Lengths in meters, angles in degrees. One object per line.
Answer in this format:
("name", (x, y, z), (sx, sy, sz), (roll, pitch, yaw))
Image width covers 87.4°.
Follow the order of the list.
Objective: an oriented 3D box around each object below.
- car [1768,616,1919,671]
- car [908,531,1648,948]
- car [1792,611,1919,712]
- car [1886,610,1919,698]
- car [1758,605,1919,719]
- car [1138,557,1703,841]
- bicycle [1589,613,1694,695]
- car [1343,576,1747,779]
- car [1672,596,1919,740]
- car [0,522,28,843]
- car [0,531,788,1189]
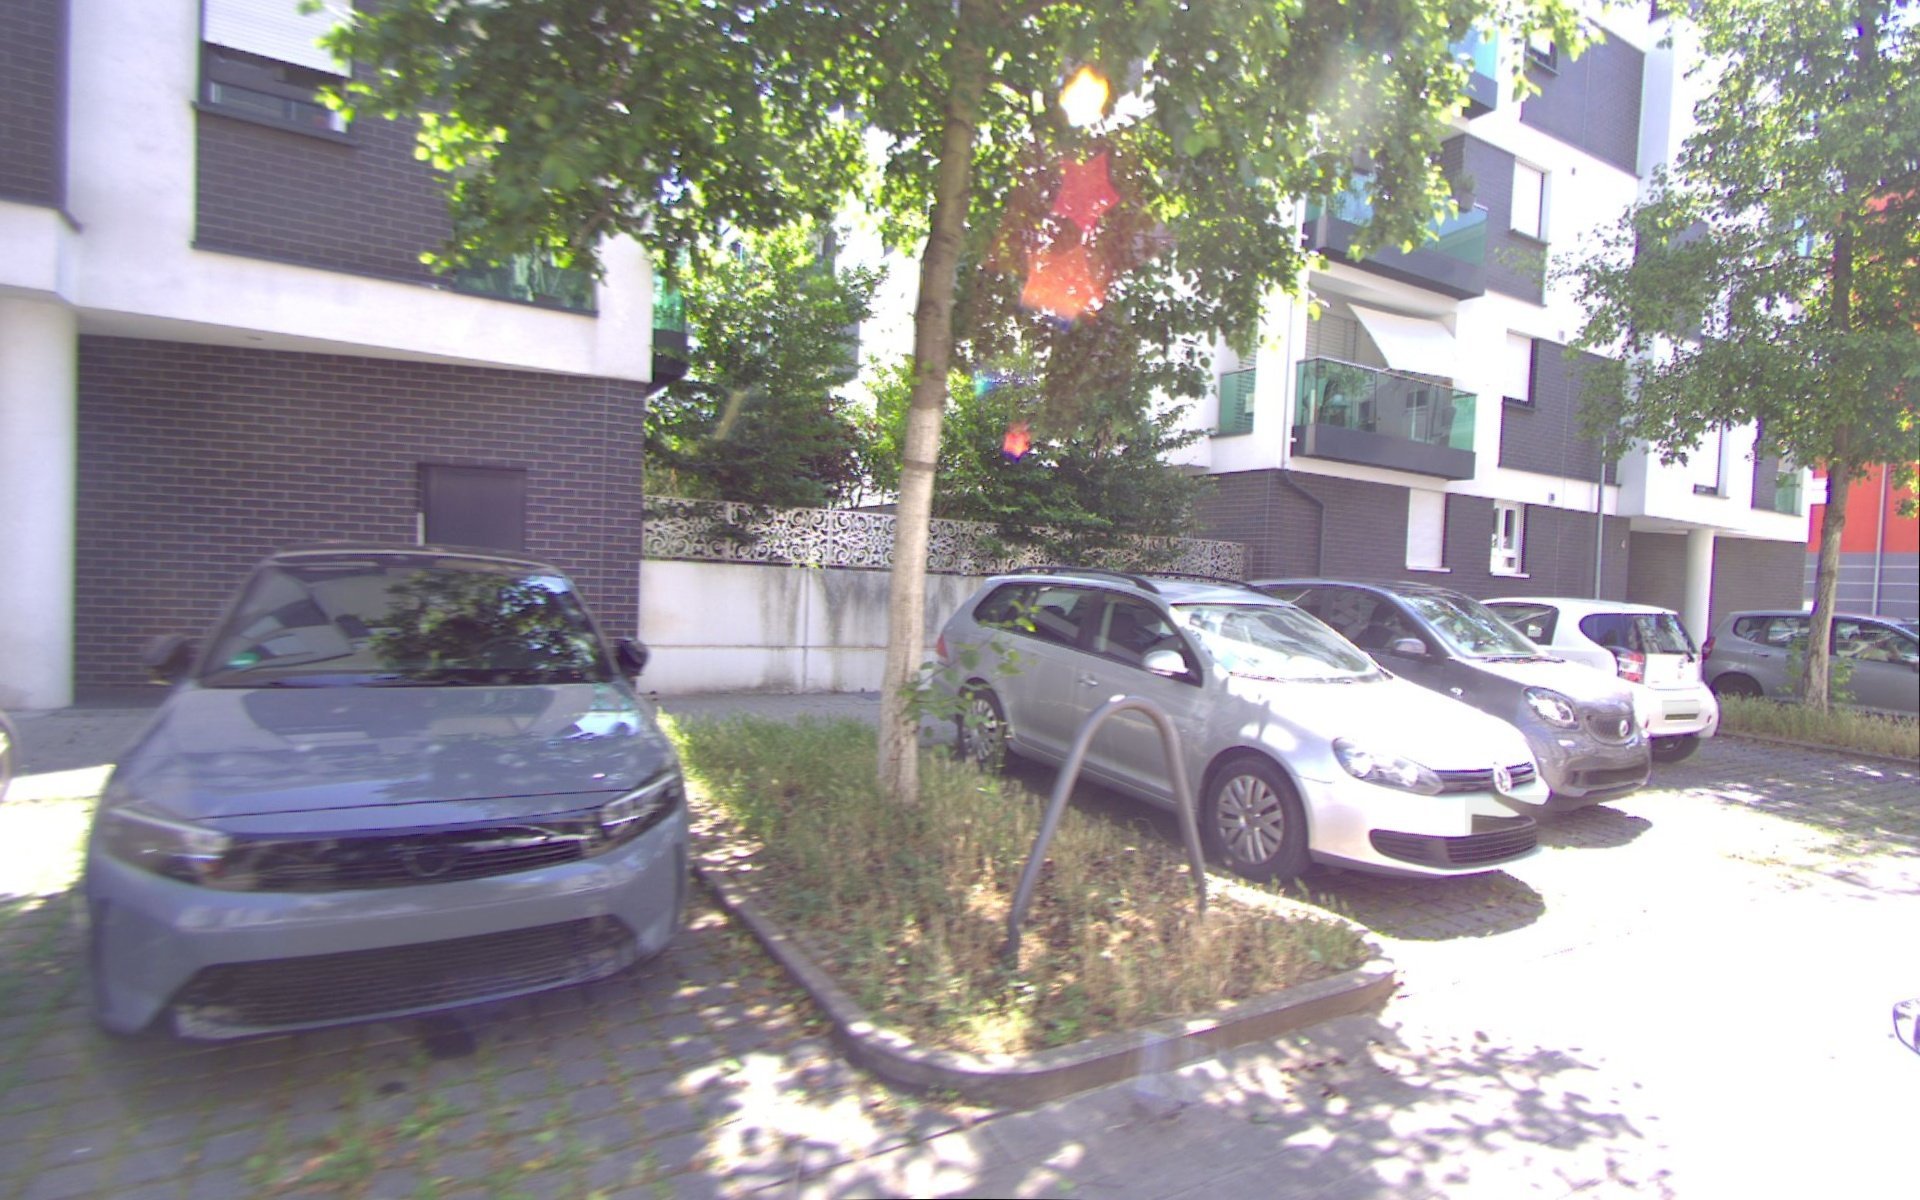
("car", (28.364, 1.330, 31.311), (1.916, 1.402, 4.545), (0, 2, -33))
("car", (1.601, 0.587, 6.547), (1.978, 1.733, 4.335), (2, 0, -33))
("car", (16.520, 1.061, 16.519), (1.778, 1.575, 3.970), (2, 1, -28))
("car", (18.680, 1.090, 17.270), (1.810, 1.541, 3.612), (2, 3, -30))
("car", (14.577, 0.995, 14.655), (1.939, 1.506, 4.154), (3, 2, -34))
("car", (3.444, 0.567, 8.134), (1.803, 1.607, 3.682), (2, 3, -35))
("bicycle", (10.671, 0.839, 15.719), (1.752, 1.206, 0.564), (2, 1, -28))
("car", (5.729, 0.643, 10.114), (1.828, 1.520, 2.916), (2, 4, -32))
("car", (12.088, 0.881, 13.247), (1.851, 1.574, 3.917), (2, 3, -31))
("car", (-4.271, 0.459, 2.852), (1.757, 1.465, 3.949), (2, 3, -34))
("car", (-2.337, 0.494, 4.401), (1.874, 1.441, 3.968), (1, 3, -29))
